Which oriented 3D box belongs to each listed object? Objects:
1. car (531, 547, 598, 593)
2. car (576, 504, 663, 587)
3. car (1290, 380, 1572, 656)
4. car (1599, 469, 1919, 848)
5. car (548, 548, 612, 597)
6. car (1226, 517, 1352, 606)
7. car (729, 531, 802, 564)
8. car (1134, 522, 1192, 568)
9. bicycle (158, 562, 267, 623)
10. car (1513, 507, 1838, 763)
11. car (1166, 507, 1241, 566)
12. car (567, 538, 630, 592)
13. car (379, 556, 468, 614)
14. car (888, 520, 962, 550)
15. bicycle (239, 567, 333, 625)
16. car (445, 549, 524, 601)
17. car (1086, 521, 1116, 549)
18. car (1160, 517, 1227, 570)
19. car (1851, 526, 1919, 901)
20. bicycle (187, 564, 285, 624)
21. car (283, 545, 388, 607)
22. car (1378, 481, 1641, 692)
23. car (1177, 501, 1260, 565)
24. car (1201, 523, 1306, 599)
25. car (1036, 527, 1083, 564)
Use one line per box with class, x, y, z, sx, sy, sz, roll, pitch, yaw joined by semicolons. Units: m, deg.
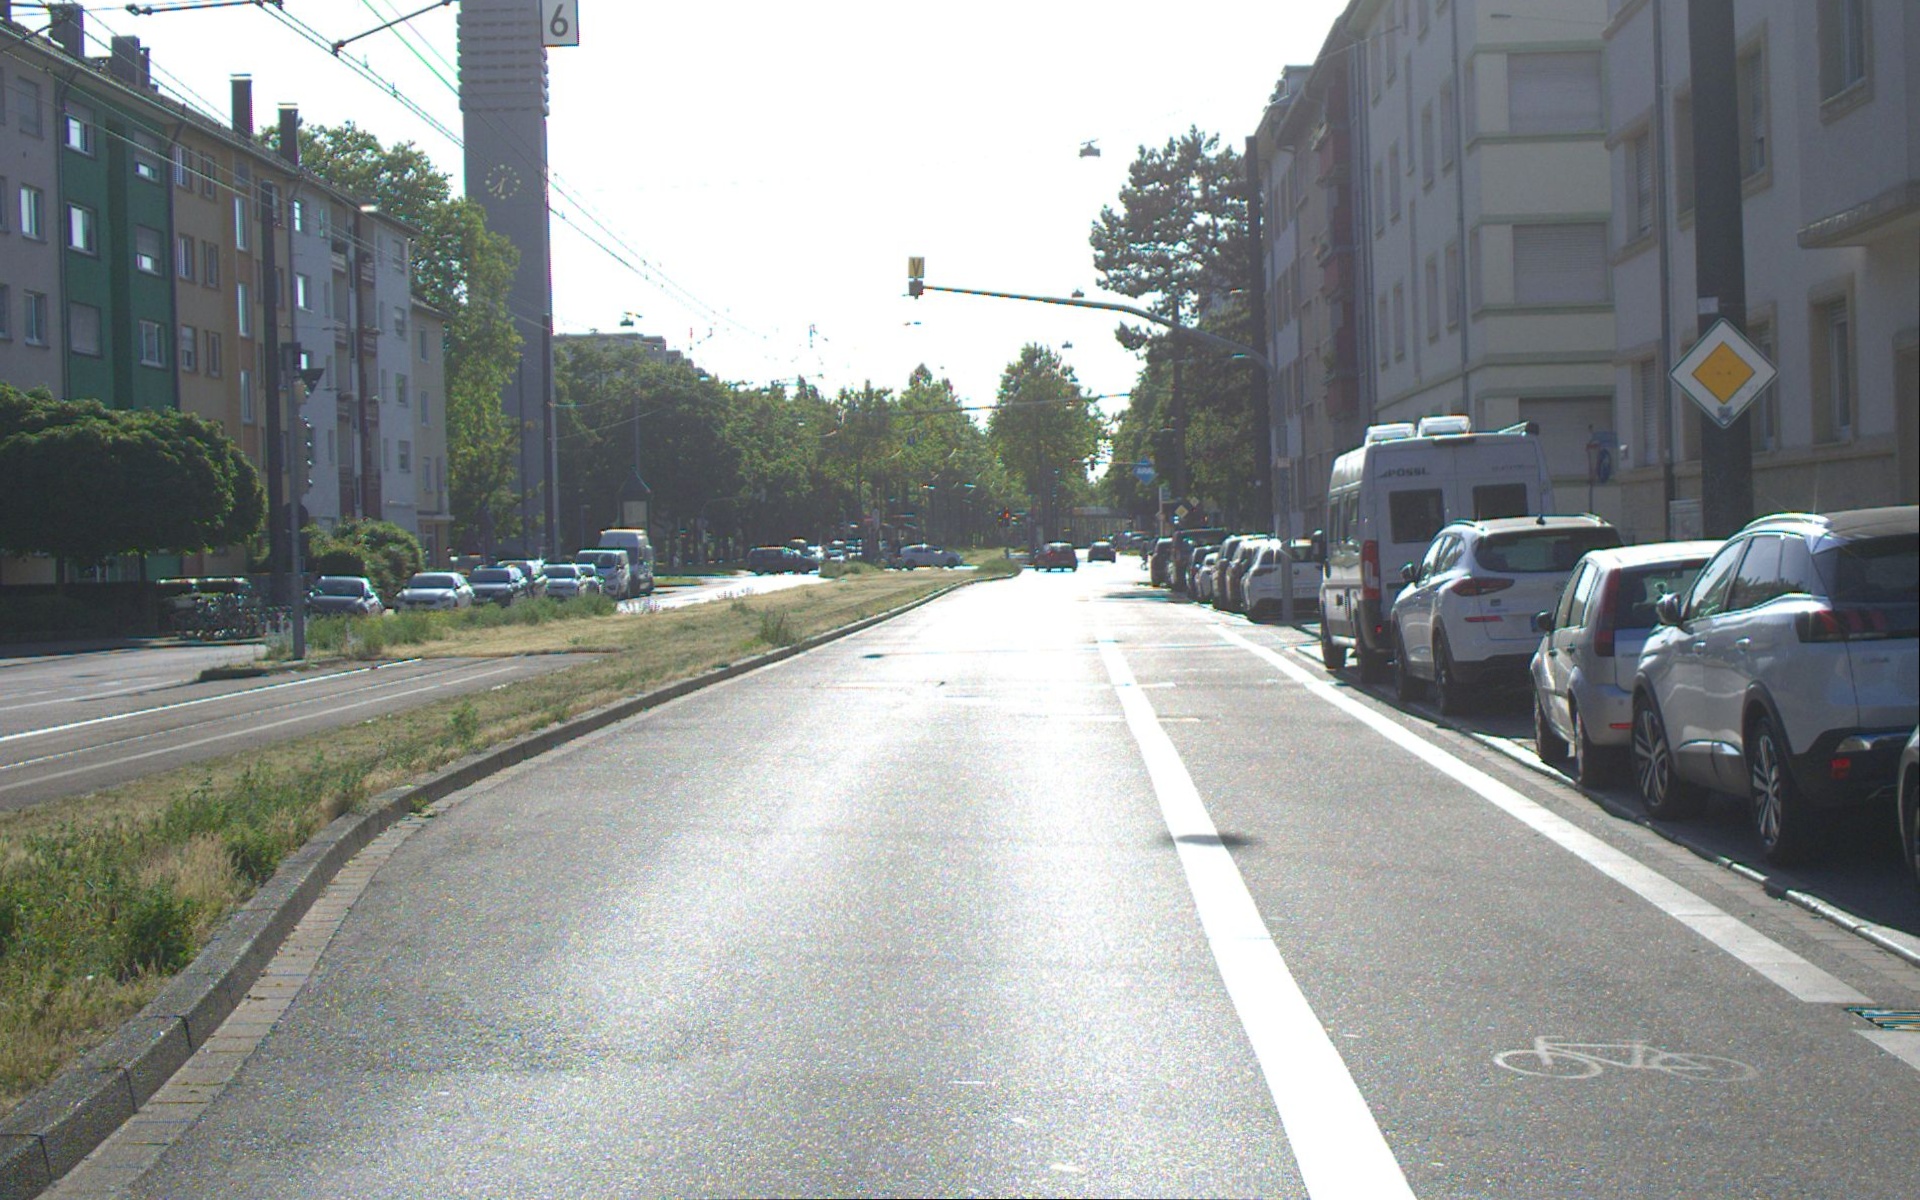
car;-14.657;-1.097;127.522;1.993;1.548;4.000;-2;-1;0
car;-14.621;-2.290;148.004;2.985;3.227;6.793;-2;-1;0
car;5.014;-0.871;37.423;2.158;2.642;5.643;-4;1;0
car;4.500;0.187;17.267;1.661;1.638;4.184;-4;1;-1
car;-14.638;-1.060;132.512;1.993;1.711;4.000;-2;-1;0
car;6.096;-0.688;64.052;1.897;1.482;3.739;-2;-1;0
car;-11.683;-3.145;206.171;4.302;1.777;2.000;-2;-1;-3
car;7.336;-1.989;124.617;1.897;1.482;3.739;-2;-1;1
bicycle;-17.197;-0.173;79.129;2.308;1.300;0.913;-2;-1;-1
car;4.505;0.176;22.058;1.502;1.421;3.453;-4;1;4
car;6.972;-1.809;98.663;1.897;1.482;3.739;-2;-1;1
car;-14.607;-1.391;139.168;1.993;1.958;4.751;-2;-1;0
car;-15.955;-0.421;102.457;1.993;1.576;4.000;-2;-1;0
car;-2.102;-3.945;208.949;3.986;1.678;2.000;-1;-1;-27
bicycle;-16.345;-0.091;83.350;2.127;1.320;0.897;-1;-1;-15
car;-15.571;-0.804;112.779;1.993;1.548;4.000;-2;-1;0
car;9.457;-4.336;230.249;1.843;1.681;4.000;-2;-1;1
car;7.405;-1.788;109.315;1.897;1.482;3.739;-2;-1;1
car;4.593;0.418;12.215;1.773;1.466;4.094;-4;1;1
bicycle;-17.061;-0.139;81.002;2.127;1.320;0.897;-2;-1;-4
car;-16.256;-0.607;89.637;1.993;1.448;4.000;-2;-1;0
car;4.733;-0.142;30.077;1.590;1.629;3.918;-4;1;0
car;6.807;-1.763;90.832;1.897;1.482;3.739;-2;-1;1
car;6.343;-0.827;74.627;1.897;1.482;3.739;-2;-1;0
car;5.244;-2.868;181.836;1.993;1.777;4.000;-2;-1;-5
